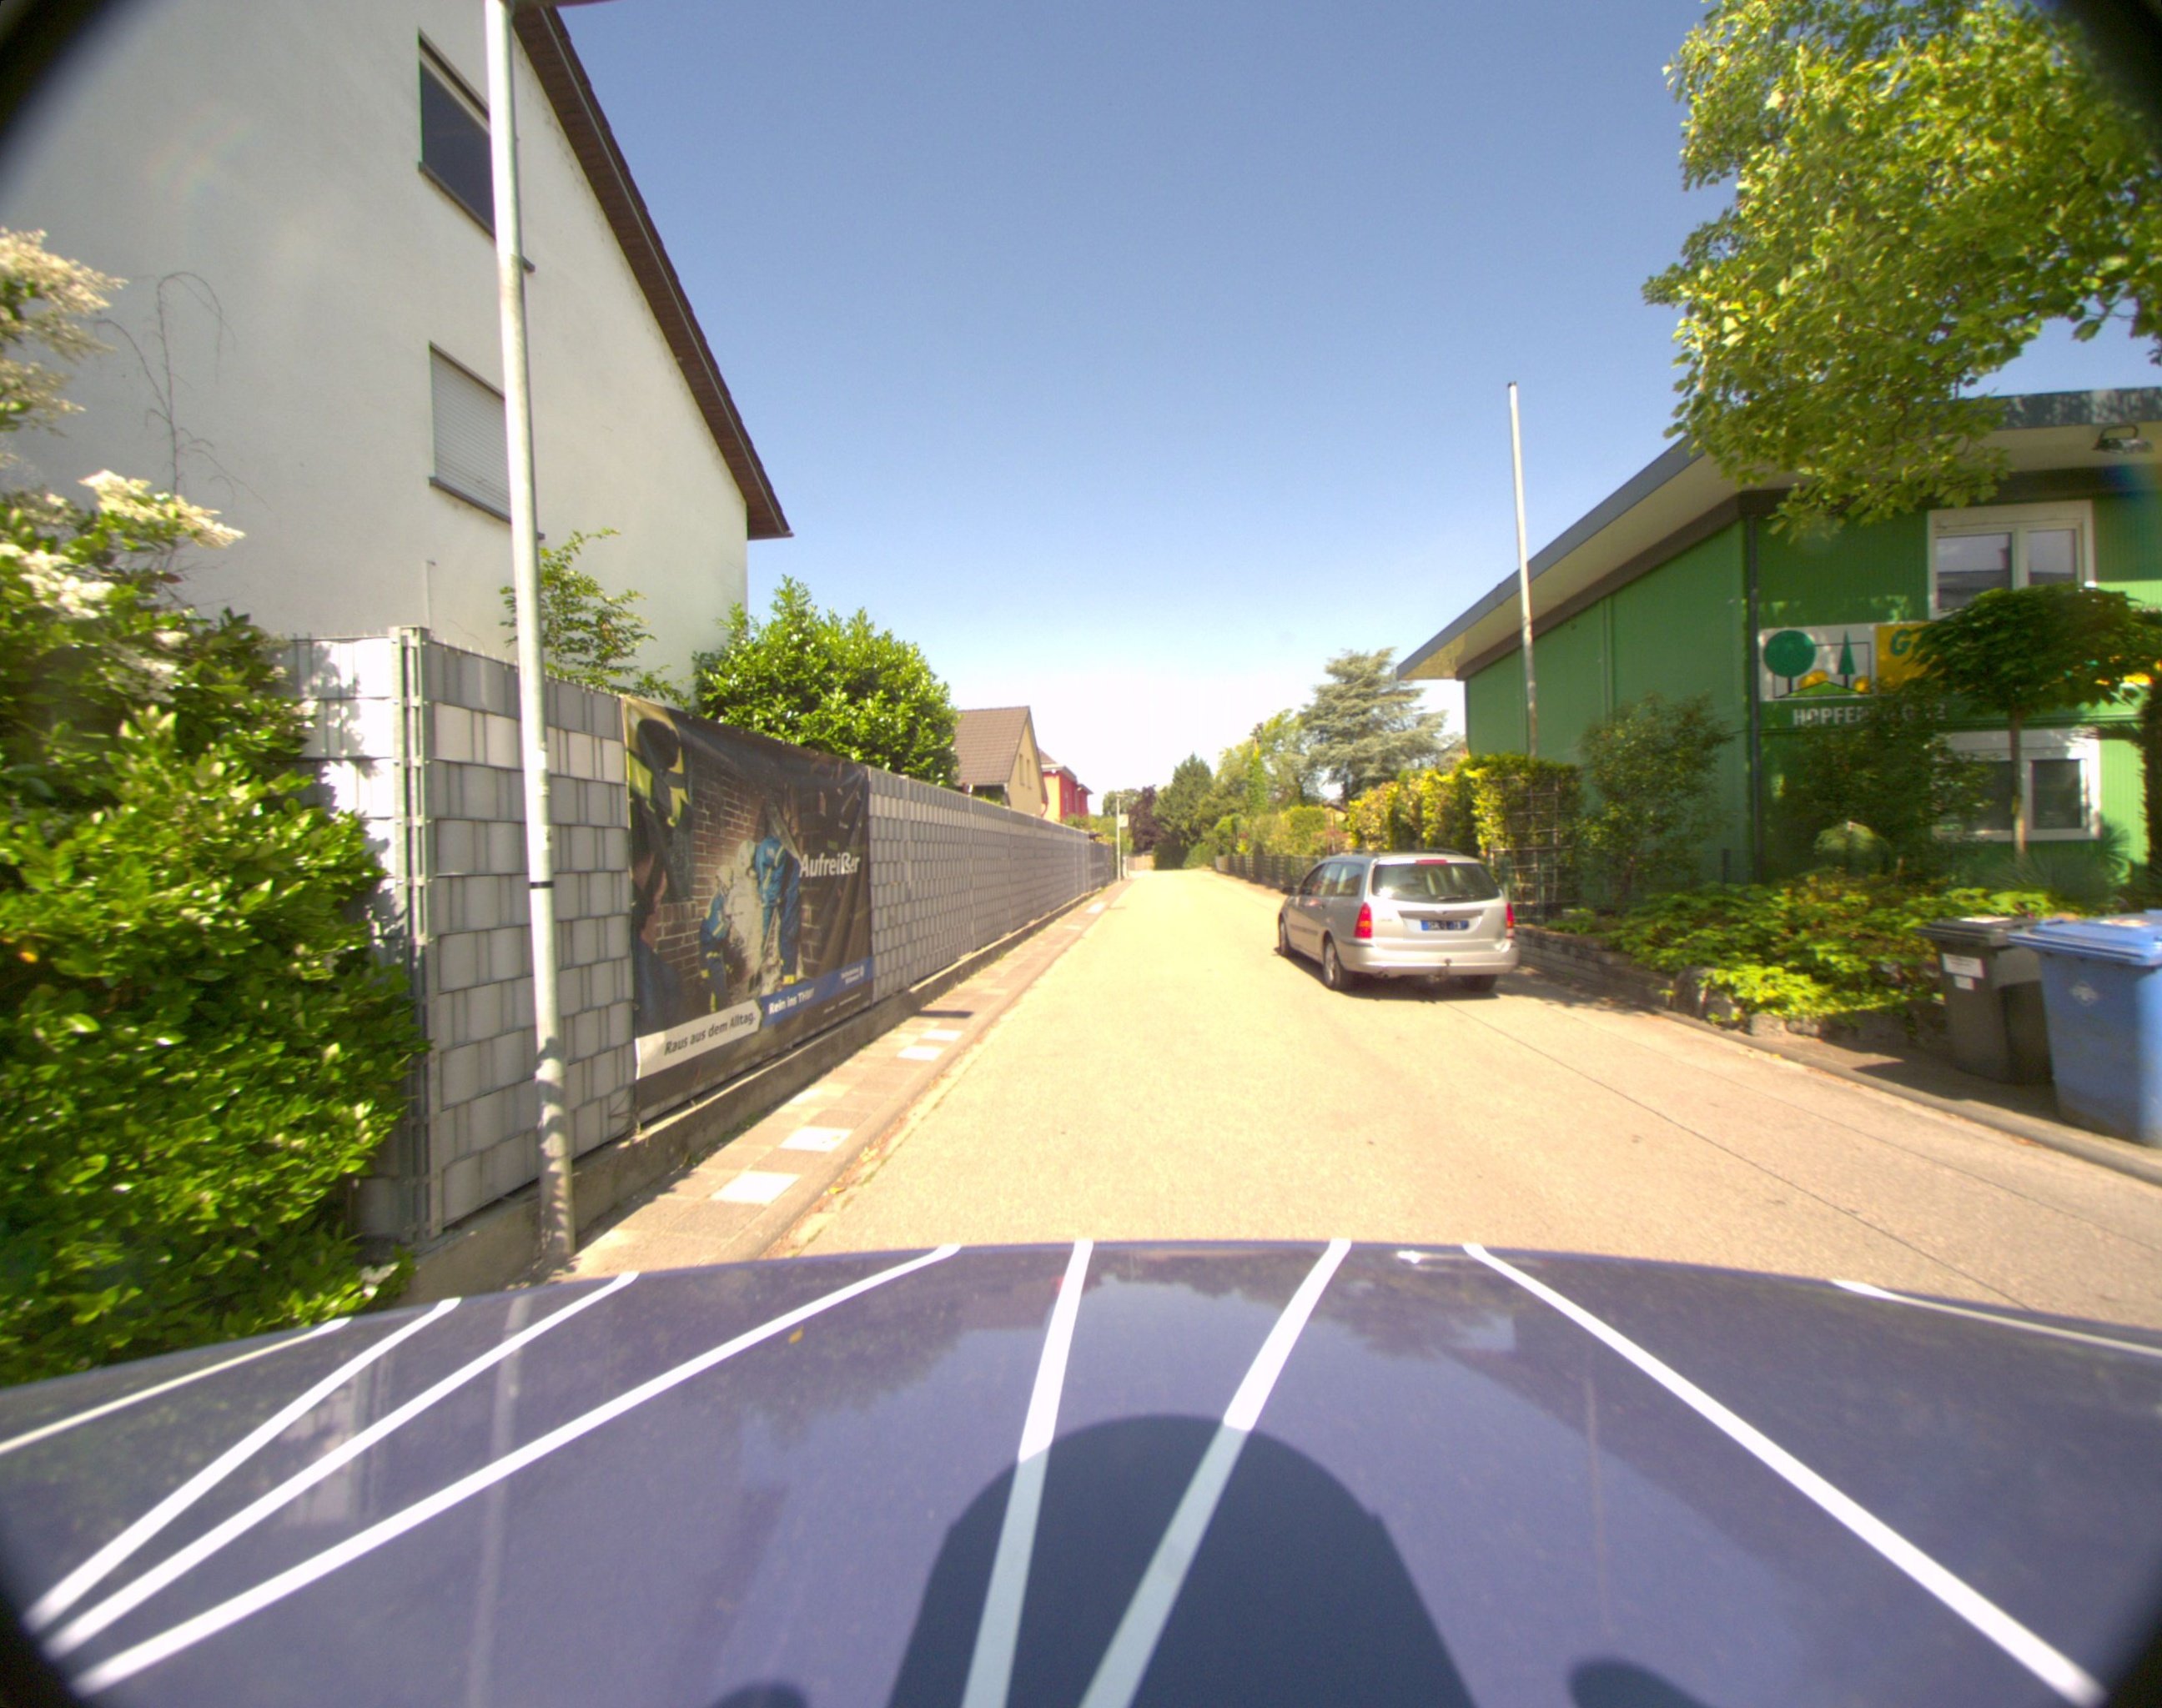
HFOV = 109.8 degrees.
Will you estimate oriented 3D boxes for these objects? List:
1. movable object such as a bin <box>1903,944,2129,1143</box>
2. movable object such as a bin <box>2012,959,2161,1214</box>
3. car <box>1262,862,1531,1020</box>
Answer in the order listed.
[{"bbox_3d":[5.452,1.082,4.467,0.584,1.018,0.568,-3,0,6],"label":"movable object such as a bin"},{"bbox_3d":[5.228,1.077,3.636,0.732,1.048,0.612,-3,0,6],"label":"movable object such as a bin"},{"bbox_3d":[3.595,0.879,9.600,1.756,1.478,4.376,-1,0,3],"label":"car"}]
